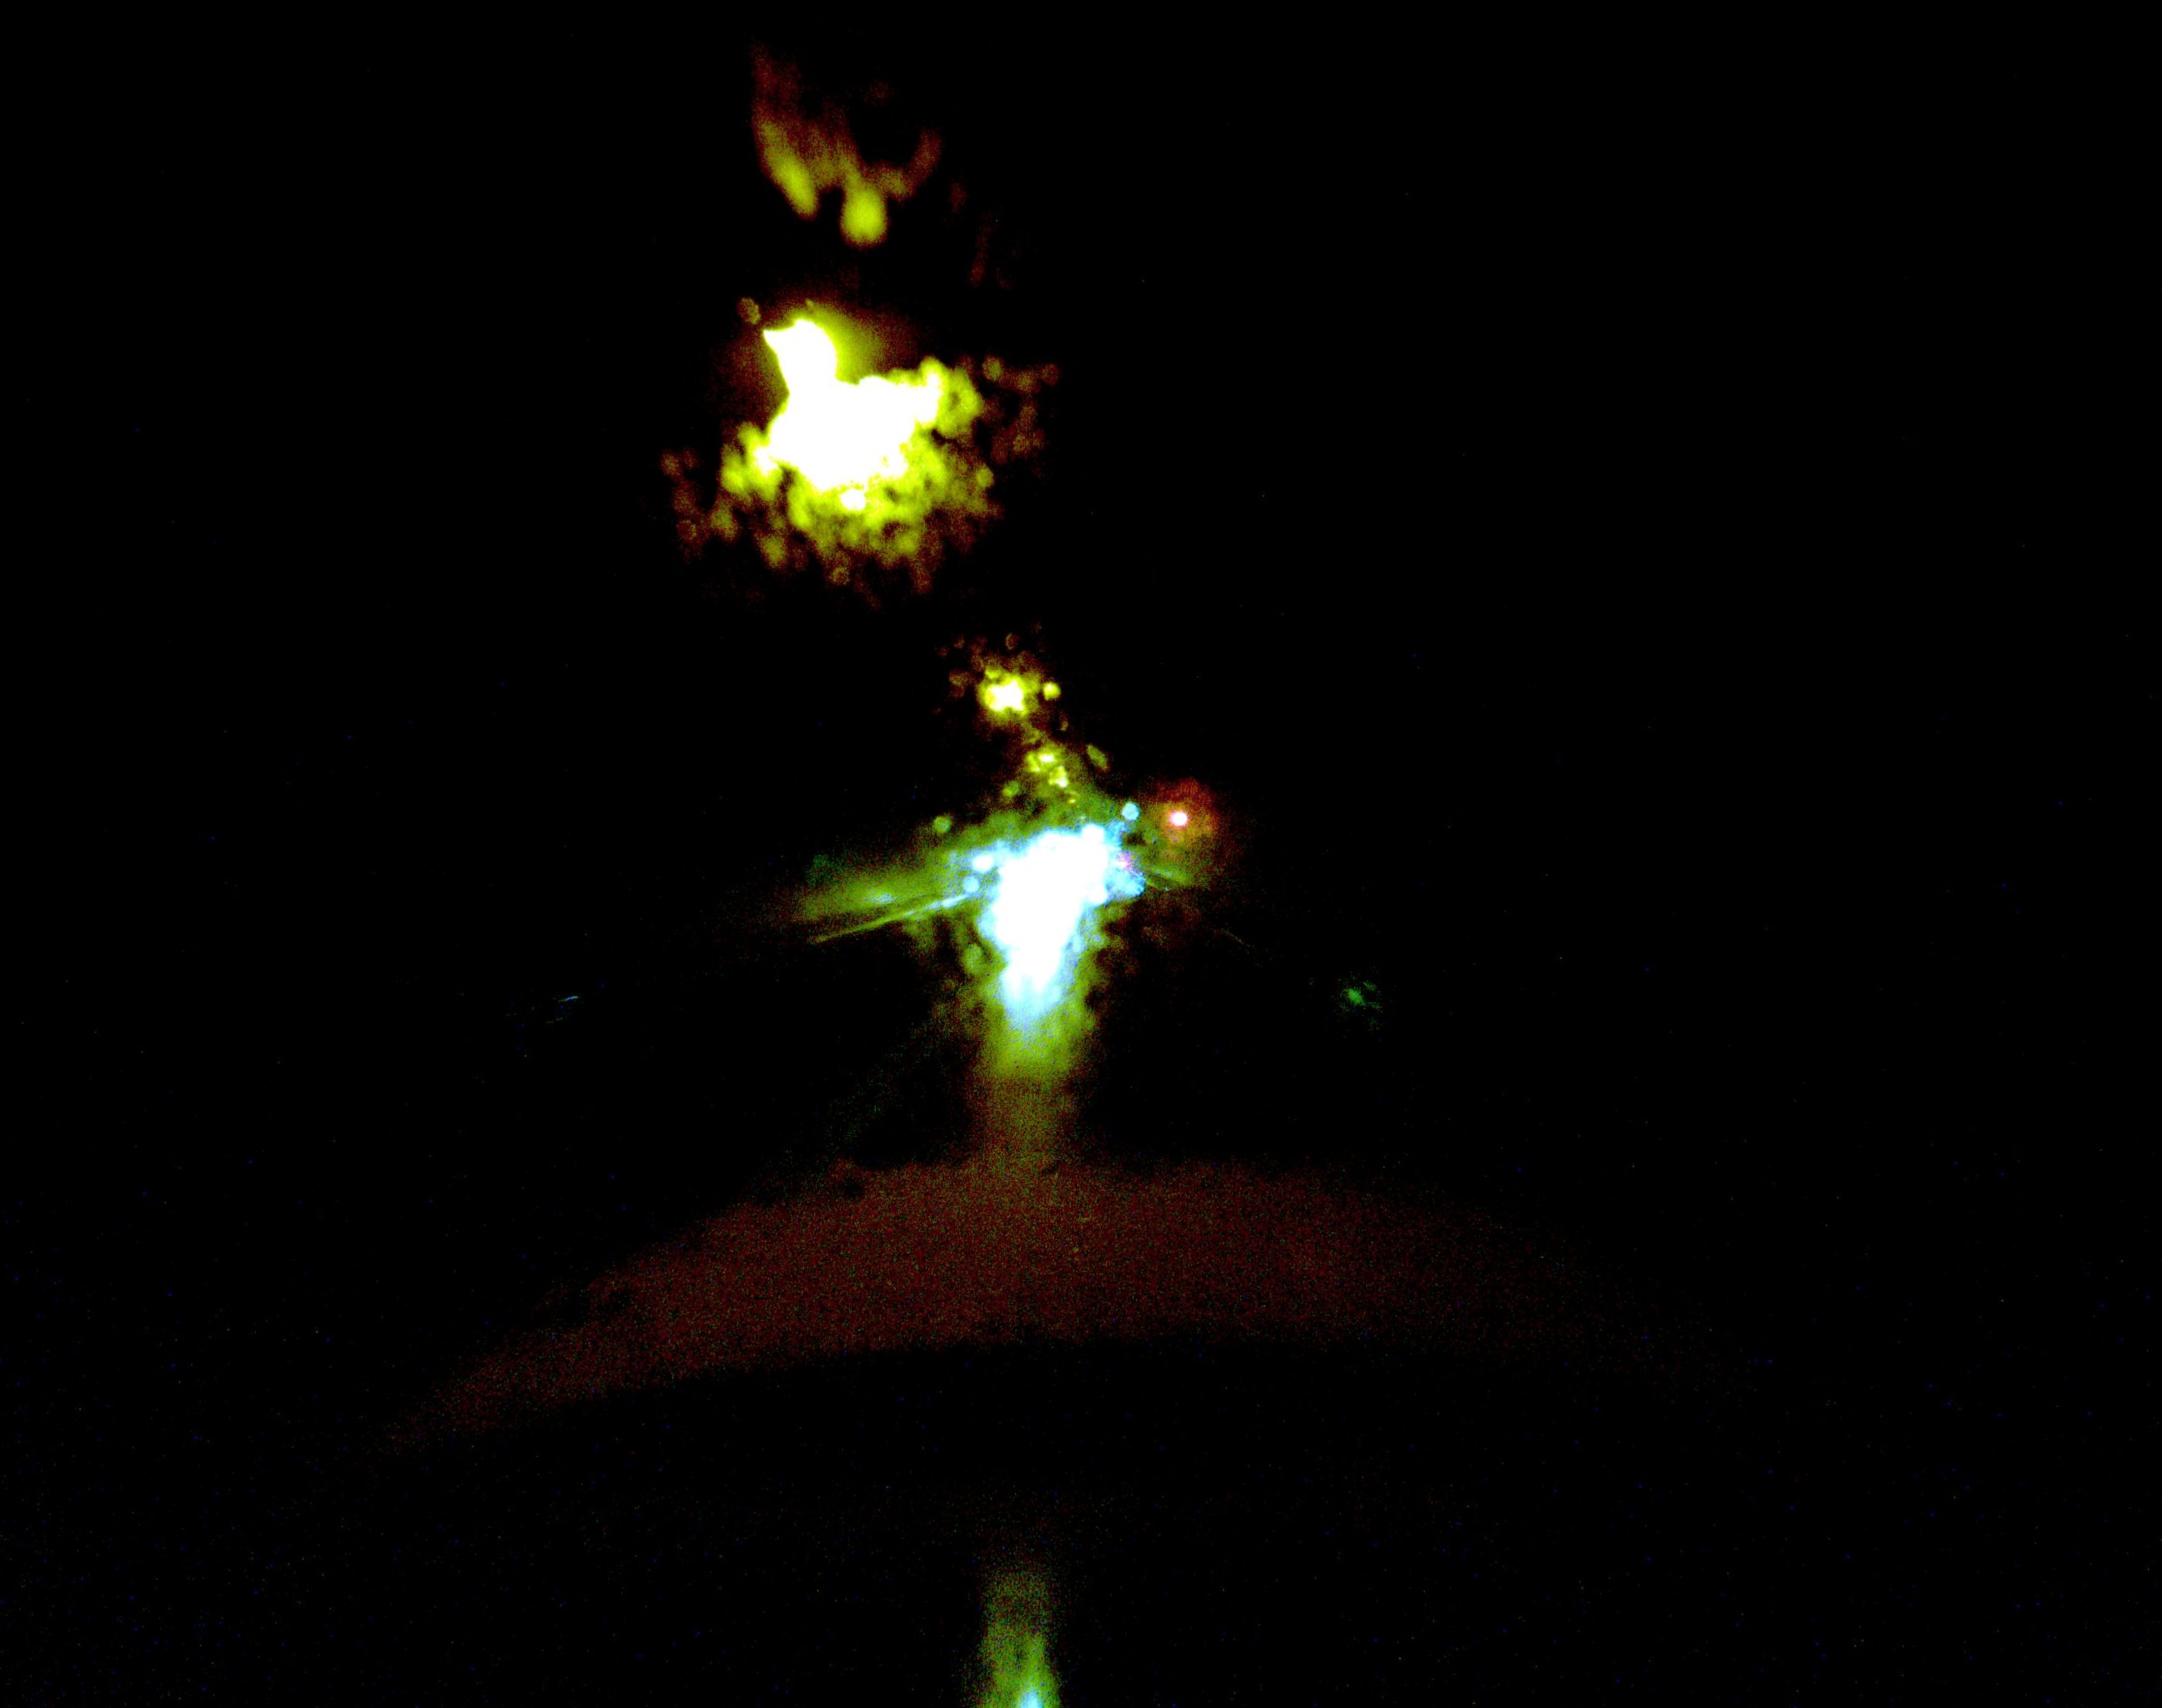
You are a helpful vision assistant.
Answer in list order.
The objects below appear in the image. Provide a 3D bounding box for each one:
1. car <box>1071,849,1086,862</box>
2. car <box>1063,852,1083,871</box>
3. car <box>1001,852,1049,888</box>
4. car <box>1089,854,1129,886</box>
[{"bbox_3d":[-0.310,0.172,100.833,1.694,1.555,3.874,-2,0,2],"label":"car"},{"bbox_3d":[-0.747,0.714,80.651,1.662,1.647,3.908,-4,1,2],"label":"car"},{"bbox_3d":[-2.405,0.677,35.990,1.704,1.462,3.577,-2,0,2],"label":"car"},{"bbox_3d":[1.551,0.870,45.640,2.082,1.662,4.001,-2,0,1],"label":"car"}]
